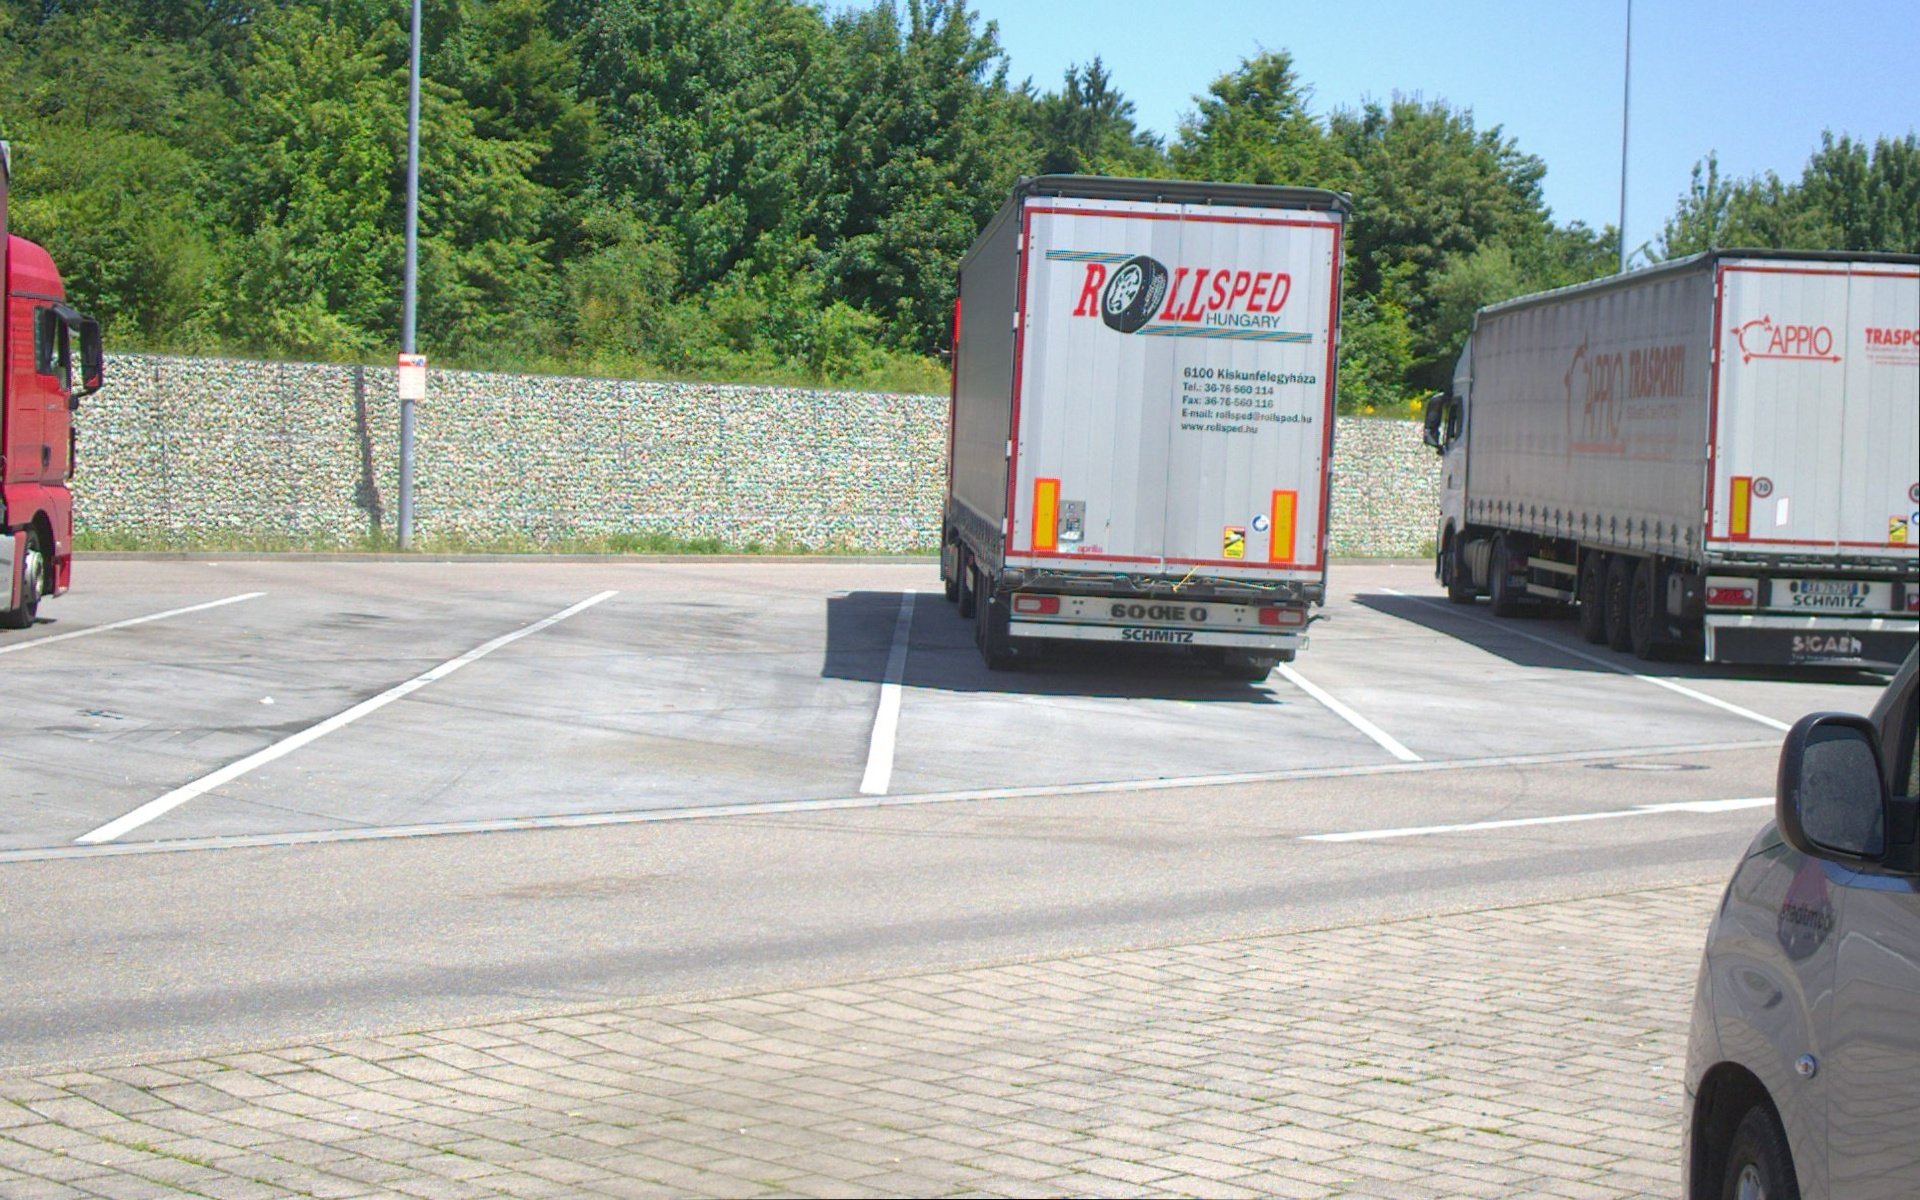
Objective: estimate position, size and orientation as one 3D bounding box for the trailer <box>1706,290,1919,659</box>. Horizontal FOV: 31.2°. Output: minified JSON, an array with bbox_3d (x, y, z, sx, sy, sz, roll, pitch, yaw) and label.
[{"bbox_3d":[11.765,-1.453,39.746,2.811,3.976,14.396,2,3,-1],"label":"trailer"}]

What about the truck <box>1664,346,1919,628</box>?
[{"bbox_3d":[11.699,-1.577,46.756,2.803,3.509,5.900,2,3,-1],"label":"truck"}]

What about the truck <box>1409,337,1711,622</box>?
[{"bbox_3d":[8.032,-1.696,46.795,2.862,3.509,5.900,2,3,-1],"label":"truck"}]

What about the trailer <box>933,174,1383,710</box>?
[{"bbox_3d":[1.457,-1.590,33.583,3.133,3.976,14.397,2,3,-1],"label":"trailer"}]

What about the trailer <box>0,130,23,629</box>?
[{"bbox_3d":[-9.186,-1.486,21.534,2.791,4.071,14.133,2,3,-1],"label":"trailer"}]

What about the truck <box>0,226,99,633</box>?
[{"bbox_3d":[-9.229,-1.441,28.108,2.851,3.316,5.900,2,3,-1],"label":"truck"}]

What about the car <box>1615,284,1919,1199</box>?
[{"bbox_3d":[2.156,0.586,3.814,1.869,1.857,4.177,2,2,-2],"label":"car"}]

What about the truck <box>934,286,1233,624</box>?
[{"bbox_3d":[1.321,-1.732,40.475,3.103,3.554,5.900,2,3,-1],"label":"truck"}]

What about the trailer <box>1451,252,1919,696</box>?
[{"bbox_3d":[8.124,-1.520,38.695,2.811,3.976,14.396,2,3,-1],"label":"trailer"}]
